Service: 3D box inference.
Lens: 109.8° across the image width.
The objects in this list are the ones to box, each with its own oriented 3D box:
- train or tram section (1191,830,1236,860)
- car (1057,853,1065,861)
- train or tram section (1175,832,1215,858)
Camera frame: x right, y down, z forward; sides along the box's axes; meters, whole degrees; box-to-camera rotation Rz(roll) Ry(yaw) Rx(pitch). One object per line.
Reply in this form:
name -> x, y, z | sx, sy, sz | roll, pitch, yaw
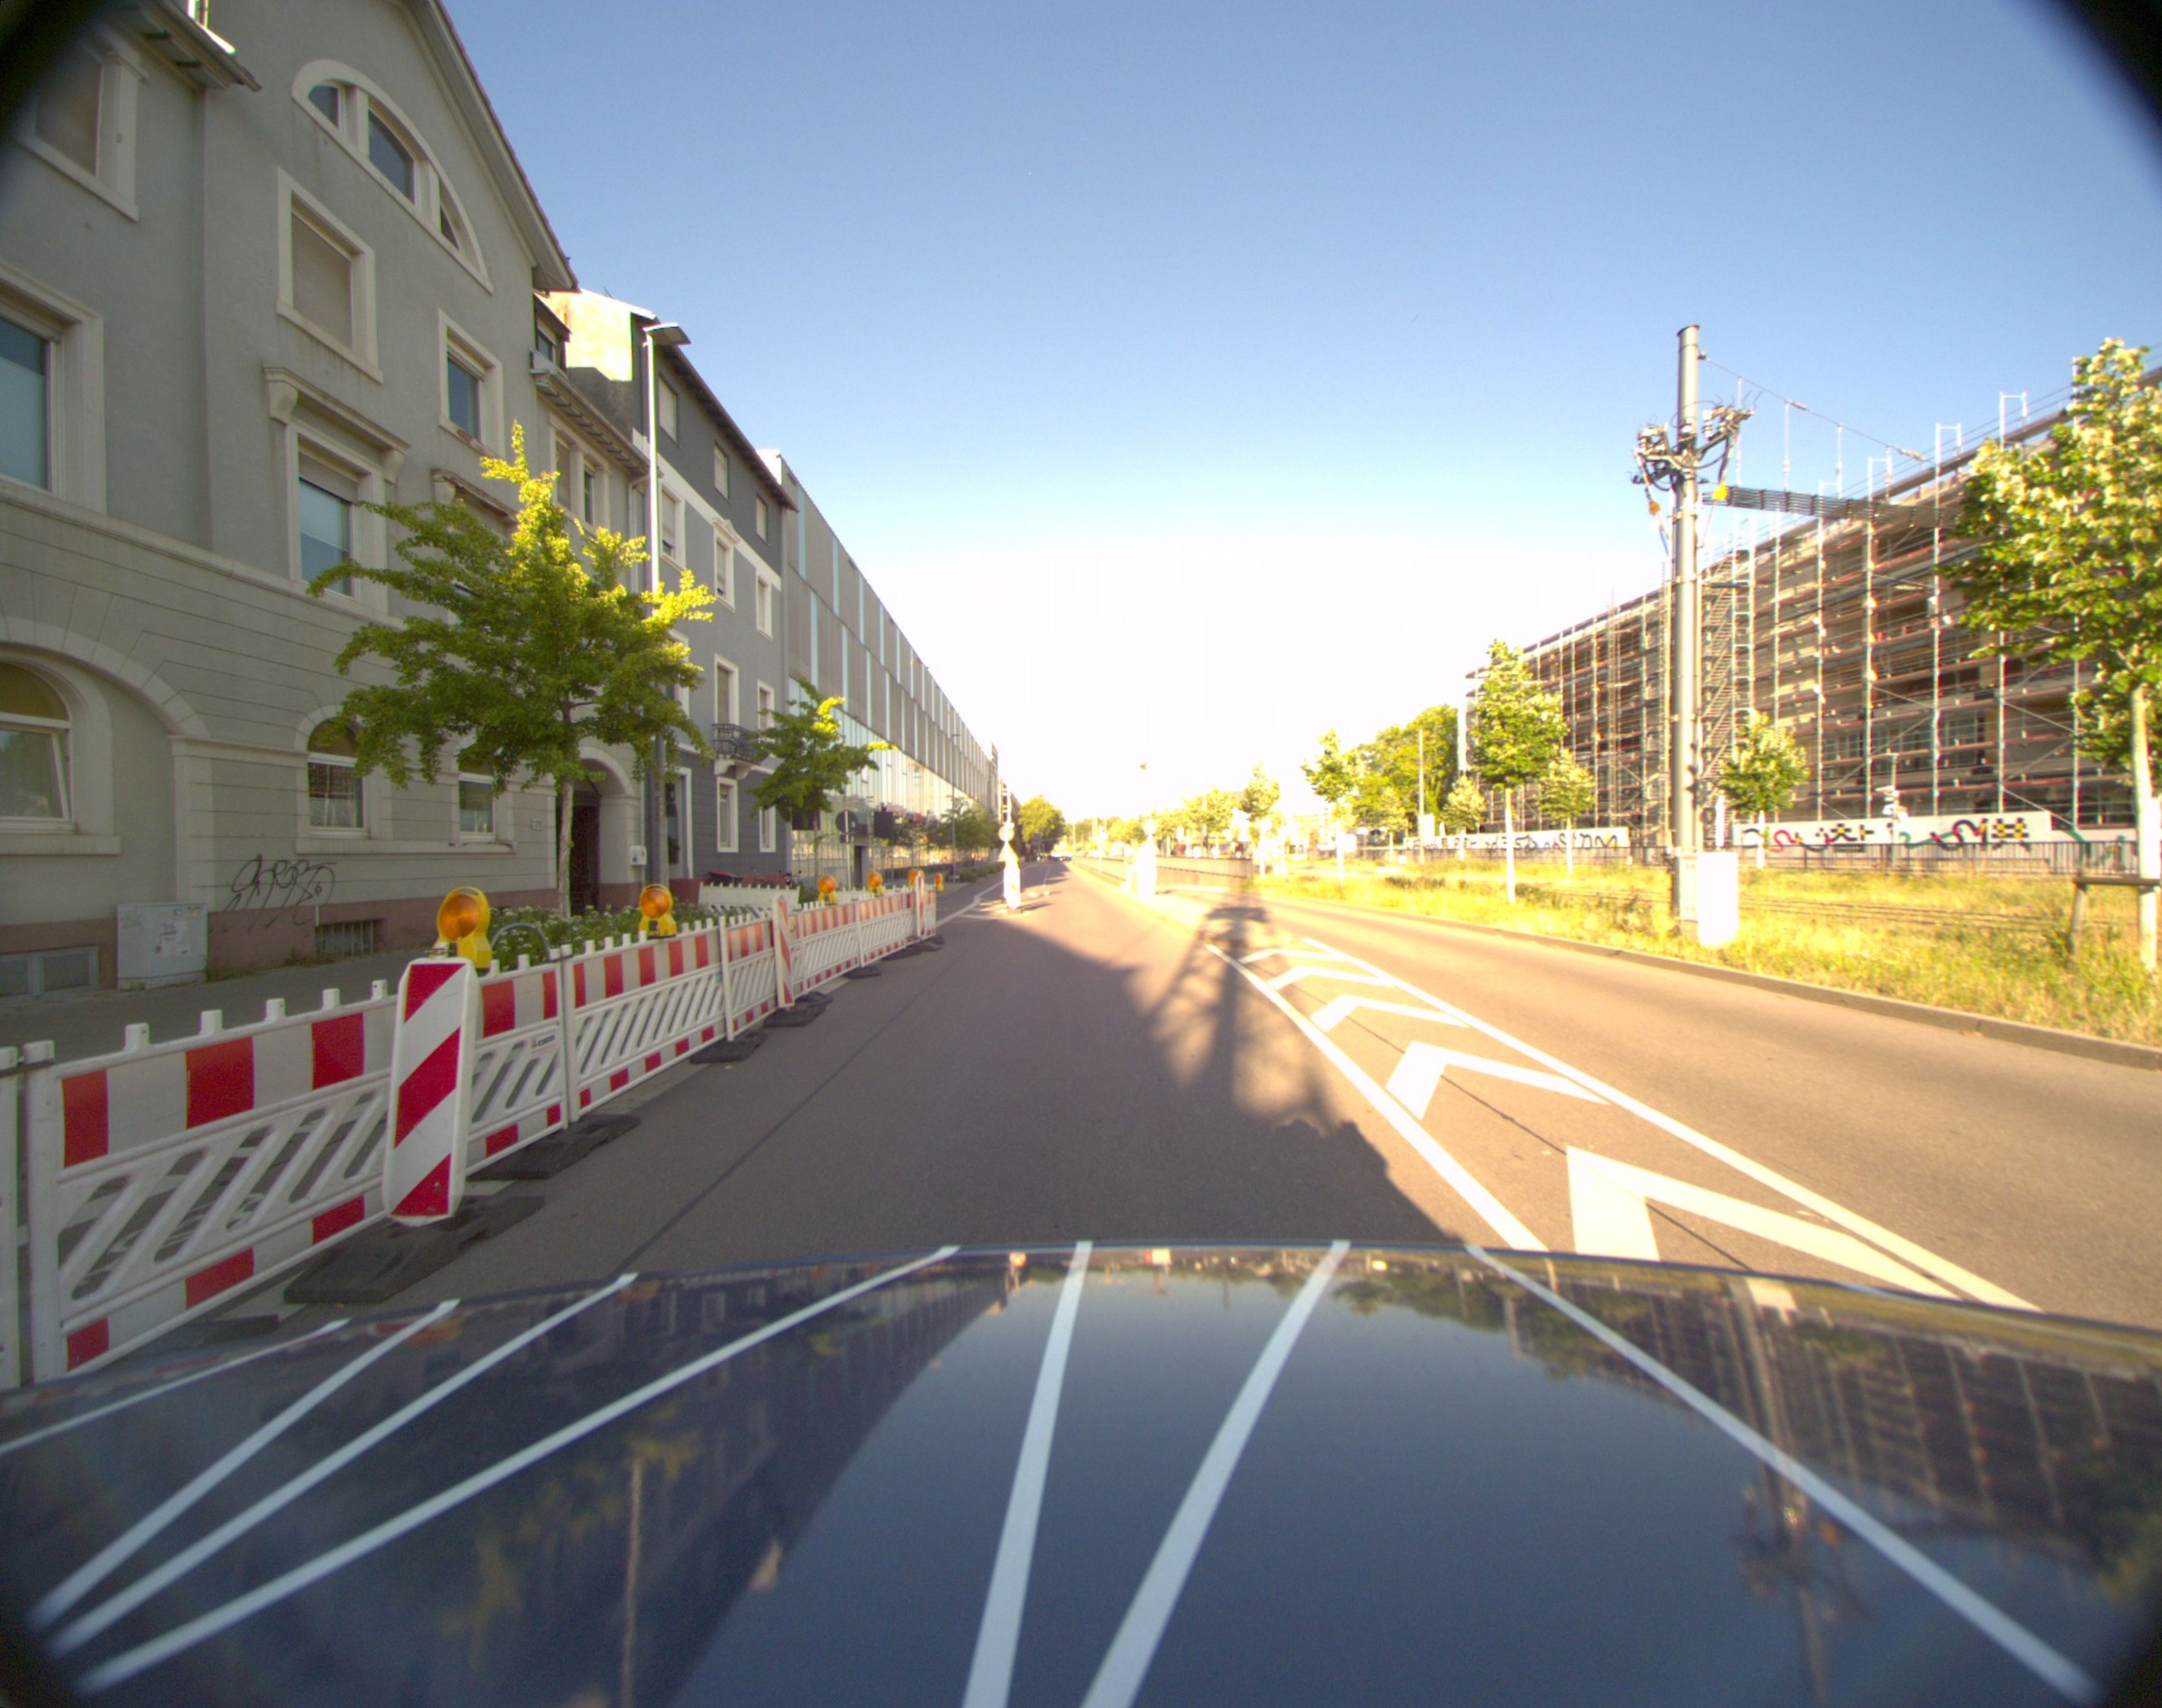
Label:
train or tram section -> 16.310, -1.095, 94.346 | 2.954, 3.378, 12.630 | -2, 1, -2
car -> -4.876, 0.800, 187.243 | 1.941, 2.002, 3.825 | -1, 0, -3
train or tram section -> 15.959, -1.233, 108.070 | 2.954, 3.378, 14.761 | -2, 1, -2
